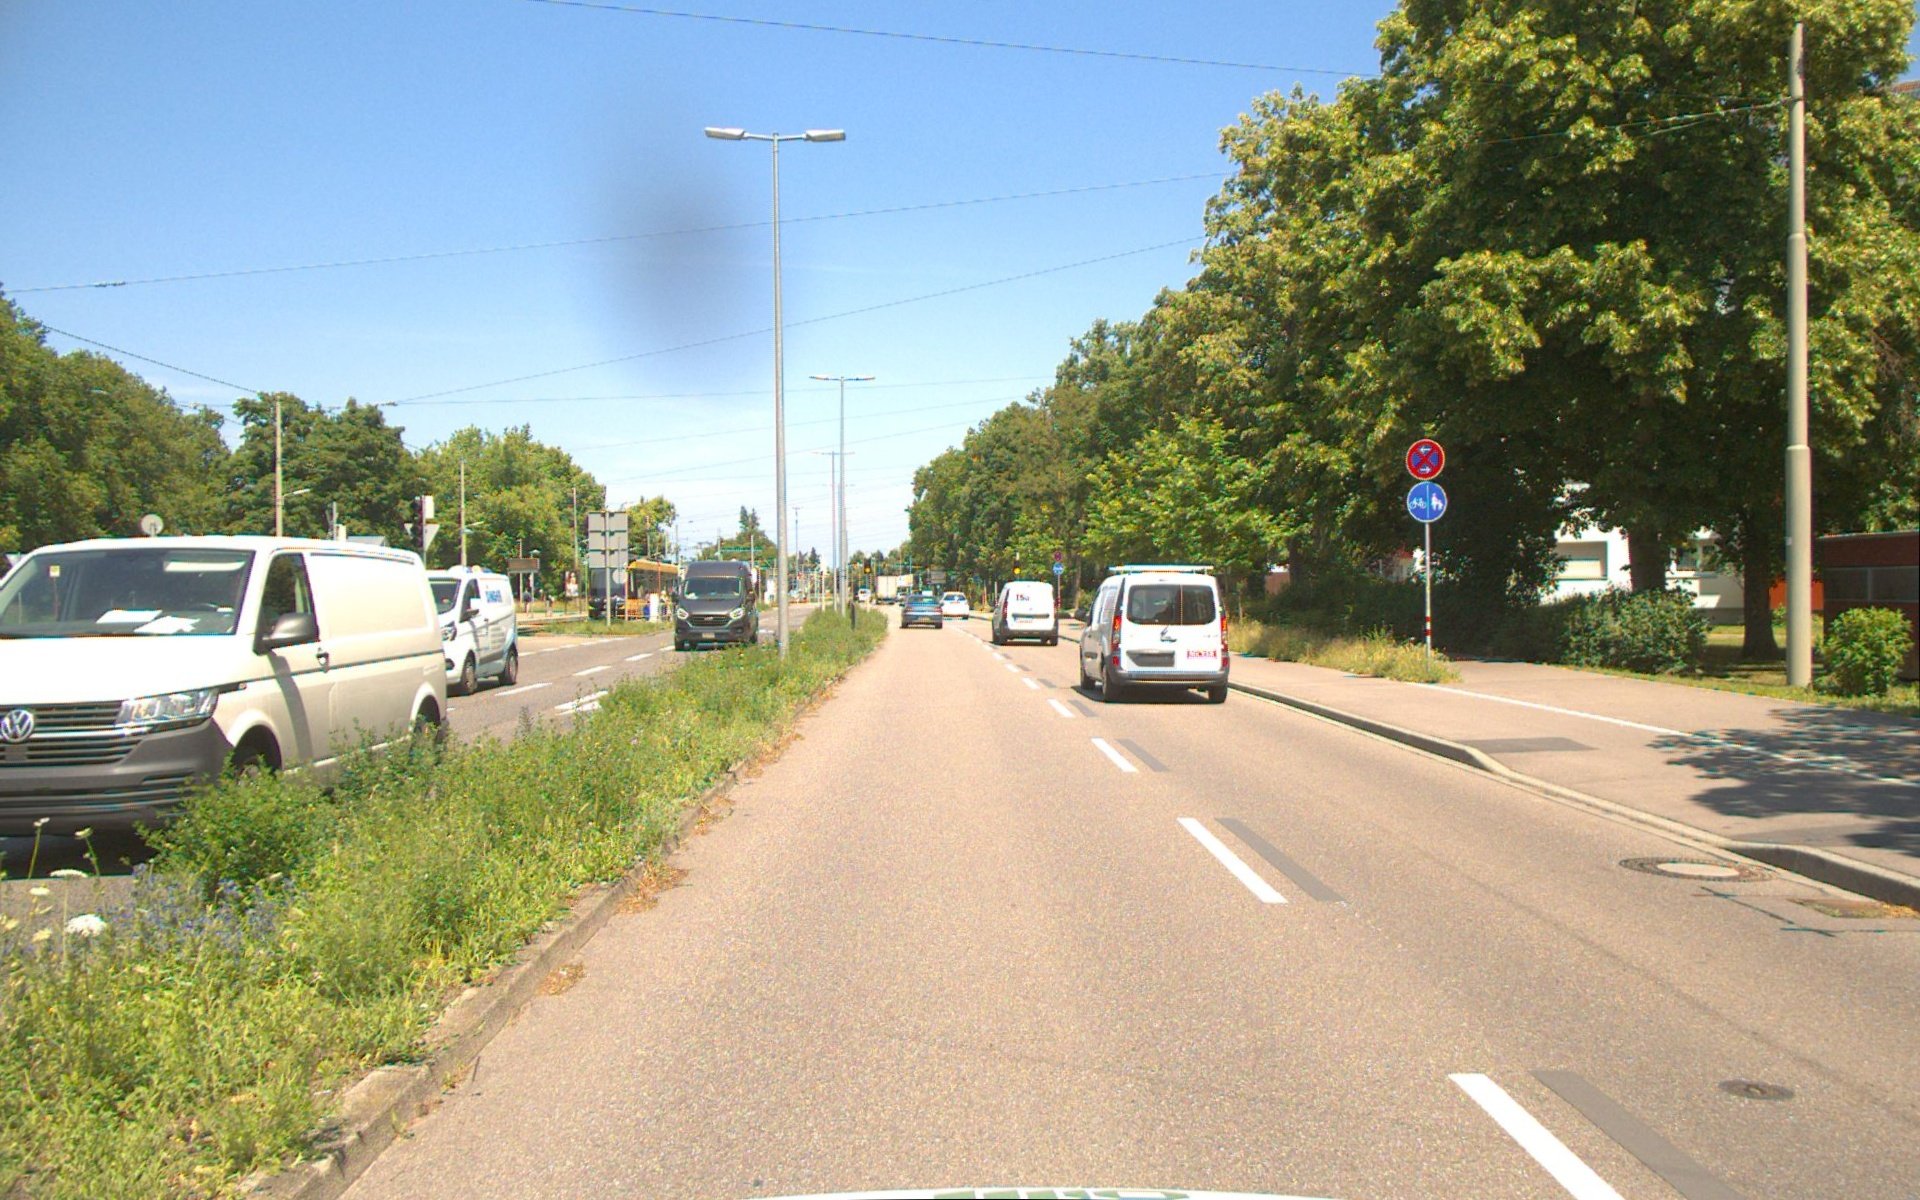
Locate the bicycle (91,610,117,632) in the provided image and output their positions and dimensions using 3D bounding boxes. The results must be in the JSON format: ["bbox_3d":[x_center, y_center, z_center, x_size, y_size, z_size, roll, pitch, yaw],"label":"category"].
[{"bbox_3d":[-35.575,0.875,68.778,0.498,0.917,1.562,0,0,-9],"label":"bicycle"}]

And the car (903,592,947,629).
[{"bbox_3d":[-1.518,0.411,69.950,1.766,1.512,3.998,0,0,-3],"label":"car"}]

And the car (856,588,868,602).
[{"bbox_3d":[-13.944,-0.757,235.956,1.654,1.930,3.867,0,0,-4],"label":"car"}]

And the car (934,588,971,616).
[{"bbox_3d":[-0.453,0.102,94.499,1.768,1.567,3.996,0,0,-5],"label":"car"}]

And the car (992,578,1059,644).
[{"bbox_3d":[1.880,0.291,48.616,1.693,1.845,3.999,1,1,-1],"label":"car"}]

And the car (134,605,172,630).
[{"bbox_3d":[-49.775,1.039,102.084,1.967,1.493,3.970,0,0,-24],"label":"car"}]

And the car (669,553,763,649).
[{"bbox_3d":[-6.581,0.014,45.139,1.954,2.407,5.370,-2,0,-3],"label":"car"}]

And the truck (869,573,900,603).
[{"bbox_3d":[-10.038,-1.601,219.857,3.822,3.879,10.783,-1,0,-4],"label":"truck"}]

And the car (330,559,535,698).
[{"bbox_3d":[-8.710,0.406,27.810,1.954,2.048,5.028,-2,1,-3],"label":"car"}]

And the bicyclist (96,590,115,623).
[{"bbox_3d":[-35.486,0.268,68.672,0.498,1.359,0.679,0,0,-9],"label":"bicyclist"}]

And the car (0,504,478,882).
[{"bbox_3d":[-5.003,0.482,11.408,1.793,1.939,5.565,-2,0,-1],"label":"car"}]

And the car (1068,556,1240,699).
[{"bbox_3d":[2.757,0.368,24.505,1.788,1.914,4.453,1,0,-3],"label":"car"}]

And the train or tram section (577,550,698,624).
[{"bbox_3d":[-19.371,-0.686,102.900,2.733,3.732,37.487,0,0,-4],"label":"train or tram section"}]
